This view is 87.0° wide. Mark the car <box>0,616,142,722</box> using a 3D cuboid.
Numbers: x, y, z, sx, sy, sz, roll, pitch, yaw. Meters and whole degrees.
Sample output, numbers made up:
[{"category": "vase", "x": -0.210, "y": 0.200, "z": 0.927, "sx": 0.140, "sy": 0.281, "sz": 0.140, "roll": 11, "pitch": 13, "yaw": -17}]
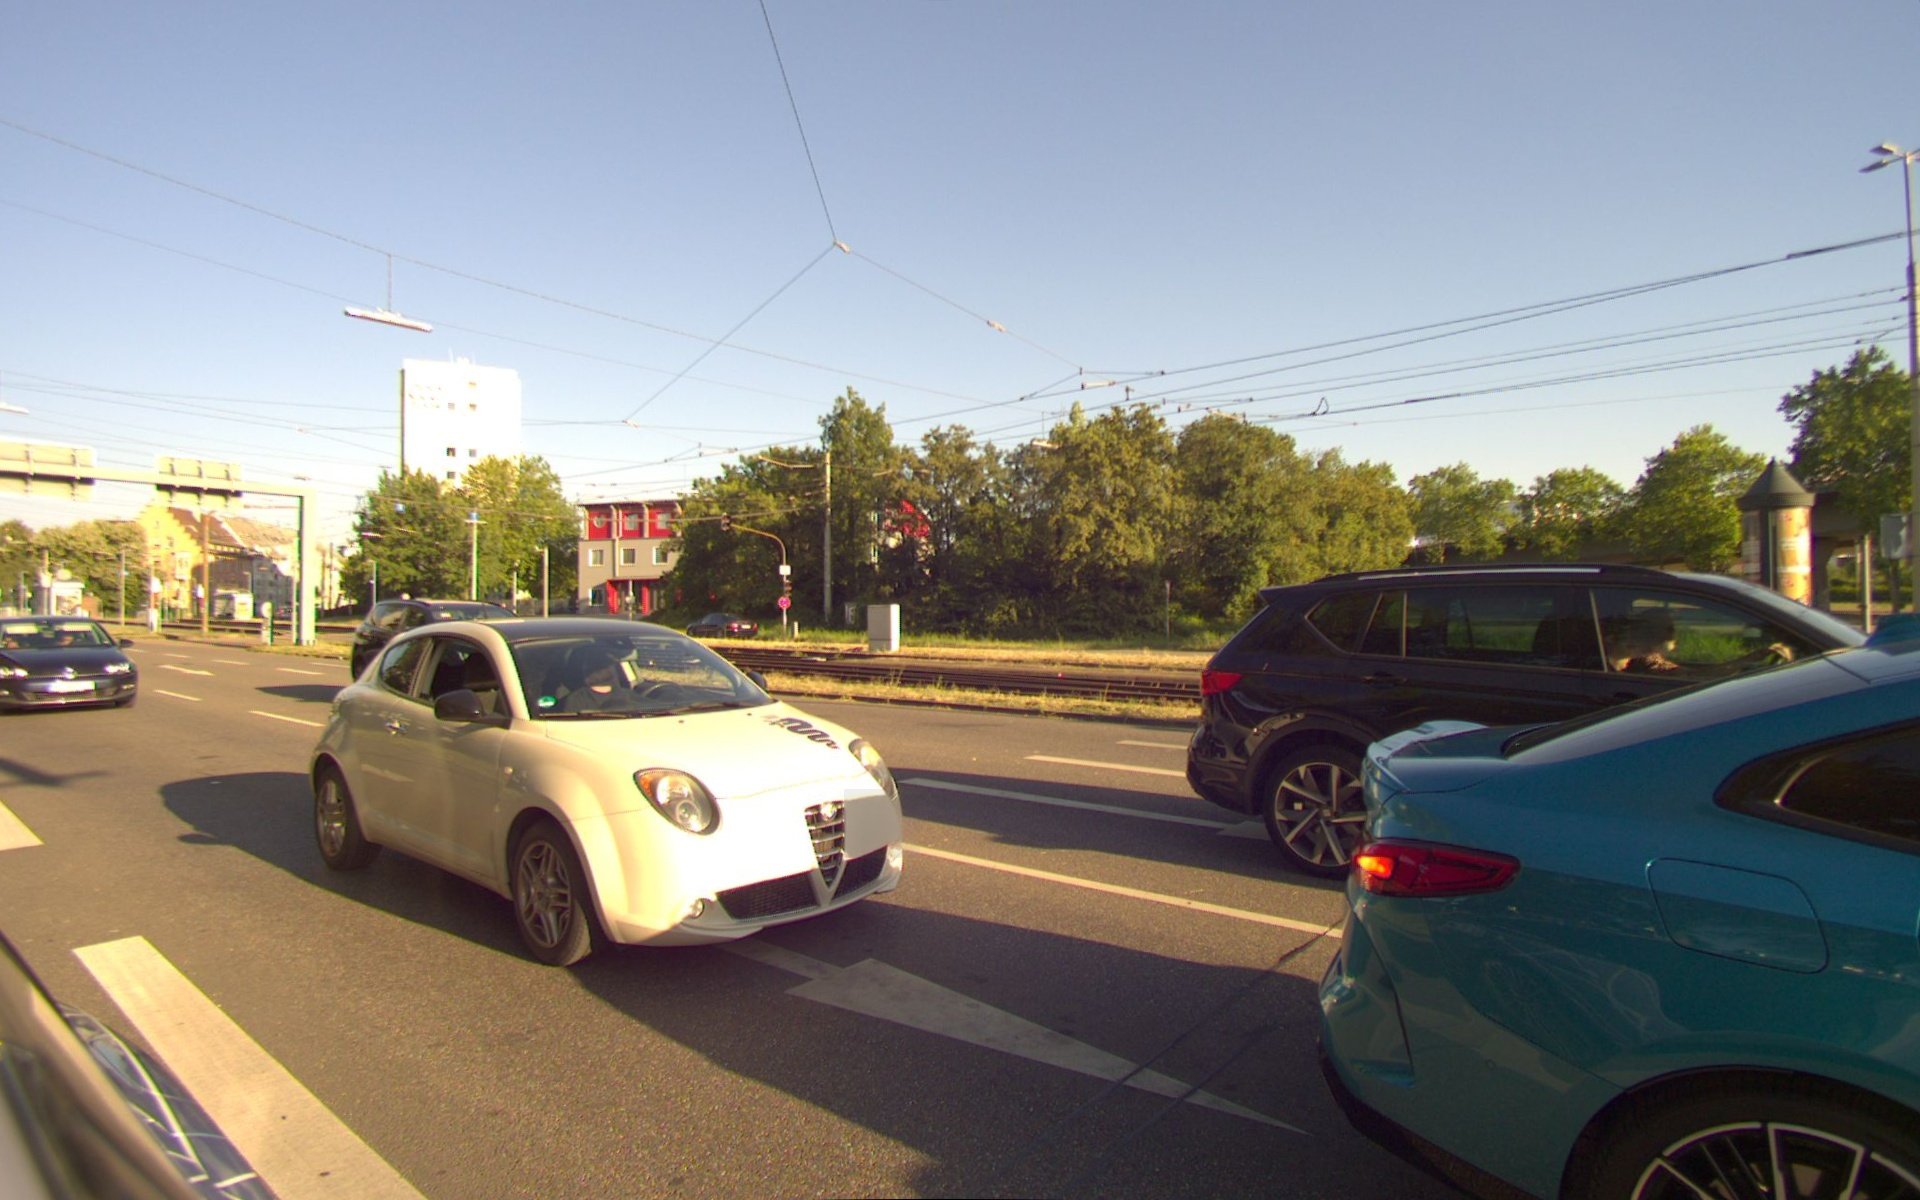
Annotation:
[{"category": "car", "x": -14.343, "y": 0.989, "z": 15.801, "sx": 3.997, "sy": 1.448, "sz": 1.719, "roll": -1, "pitch": -1, "yaw": 40}]

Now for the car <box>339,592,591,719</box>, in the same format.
[{"category": "car", "x": -7.645, "y": 0.785, "z": 15.470, "sx": 4.273, "sy": 1.675, "sz": 1.881, "roll": -1, "pitch": -2, "yaw": 40}]

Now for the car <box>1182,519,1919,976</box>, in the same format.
[{"category": "car", "x": 3.586, "y": 0.574, "z": 4.959, "sx": 4.624, "sy": 1.692, "sz": 1.794, "roll": -2, "pitch": -2, "yaw": 43}]

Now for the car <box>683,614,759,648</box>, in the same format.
[{"category": "car", "x": -12.638, "y": 1.596, "z": 53.280, "sx": 1.728, "sy": 1.691, "sz": 4.760, "roll": 0, "pitch": -1, "yaw": -44}]

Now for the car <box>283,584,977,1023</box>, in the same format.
[{"category": "car", "x": -1.992, "y": 0.756, "z": 5.470, "sx": 3.997, "sy": 1.517, "sz": 1.719, "roll": -1, "pitch": -2, "yaw": 40}]

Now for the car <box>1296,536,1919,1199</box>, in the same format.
[{"category": "car", "x": 2.868, "y": 0.636, "z": 1.470, "sx": 4.201, "sy": 1.477, "sz": 1.697, "roll": -1, "pitch": -2, "yaw": 38}]

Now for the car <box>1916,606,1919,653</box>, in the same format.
[{"category": "car", "x": 31.365, "y": 0.926, "z": 30.618, "sx": 1.706, "sy": 1.537, "sz": 3.919, "roll": -1, "pitch": -1, "yaw": 12}]
